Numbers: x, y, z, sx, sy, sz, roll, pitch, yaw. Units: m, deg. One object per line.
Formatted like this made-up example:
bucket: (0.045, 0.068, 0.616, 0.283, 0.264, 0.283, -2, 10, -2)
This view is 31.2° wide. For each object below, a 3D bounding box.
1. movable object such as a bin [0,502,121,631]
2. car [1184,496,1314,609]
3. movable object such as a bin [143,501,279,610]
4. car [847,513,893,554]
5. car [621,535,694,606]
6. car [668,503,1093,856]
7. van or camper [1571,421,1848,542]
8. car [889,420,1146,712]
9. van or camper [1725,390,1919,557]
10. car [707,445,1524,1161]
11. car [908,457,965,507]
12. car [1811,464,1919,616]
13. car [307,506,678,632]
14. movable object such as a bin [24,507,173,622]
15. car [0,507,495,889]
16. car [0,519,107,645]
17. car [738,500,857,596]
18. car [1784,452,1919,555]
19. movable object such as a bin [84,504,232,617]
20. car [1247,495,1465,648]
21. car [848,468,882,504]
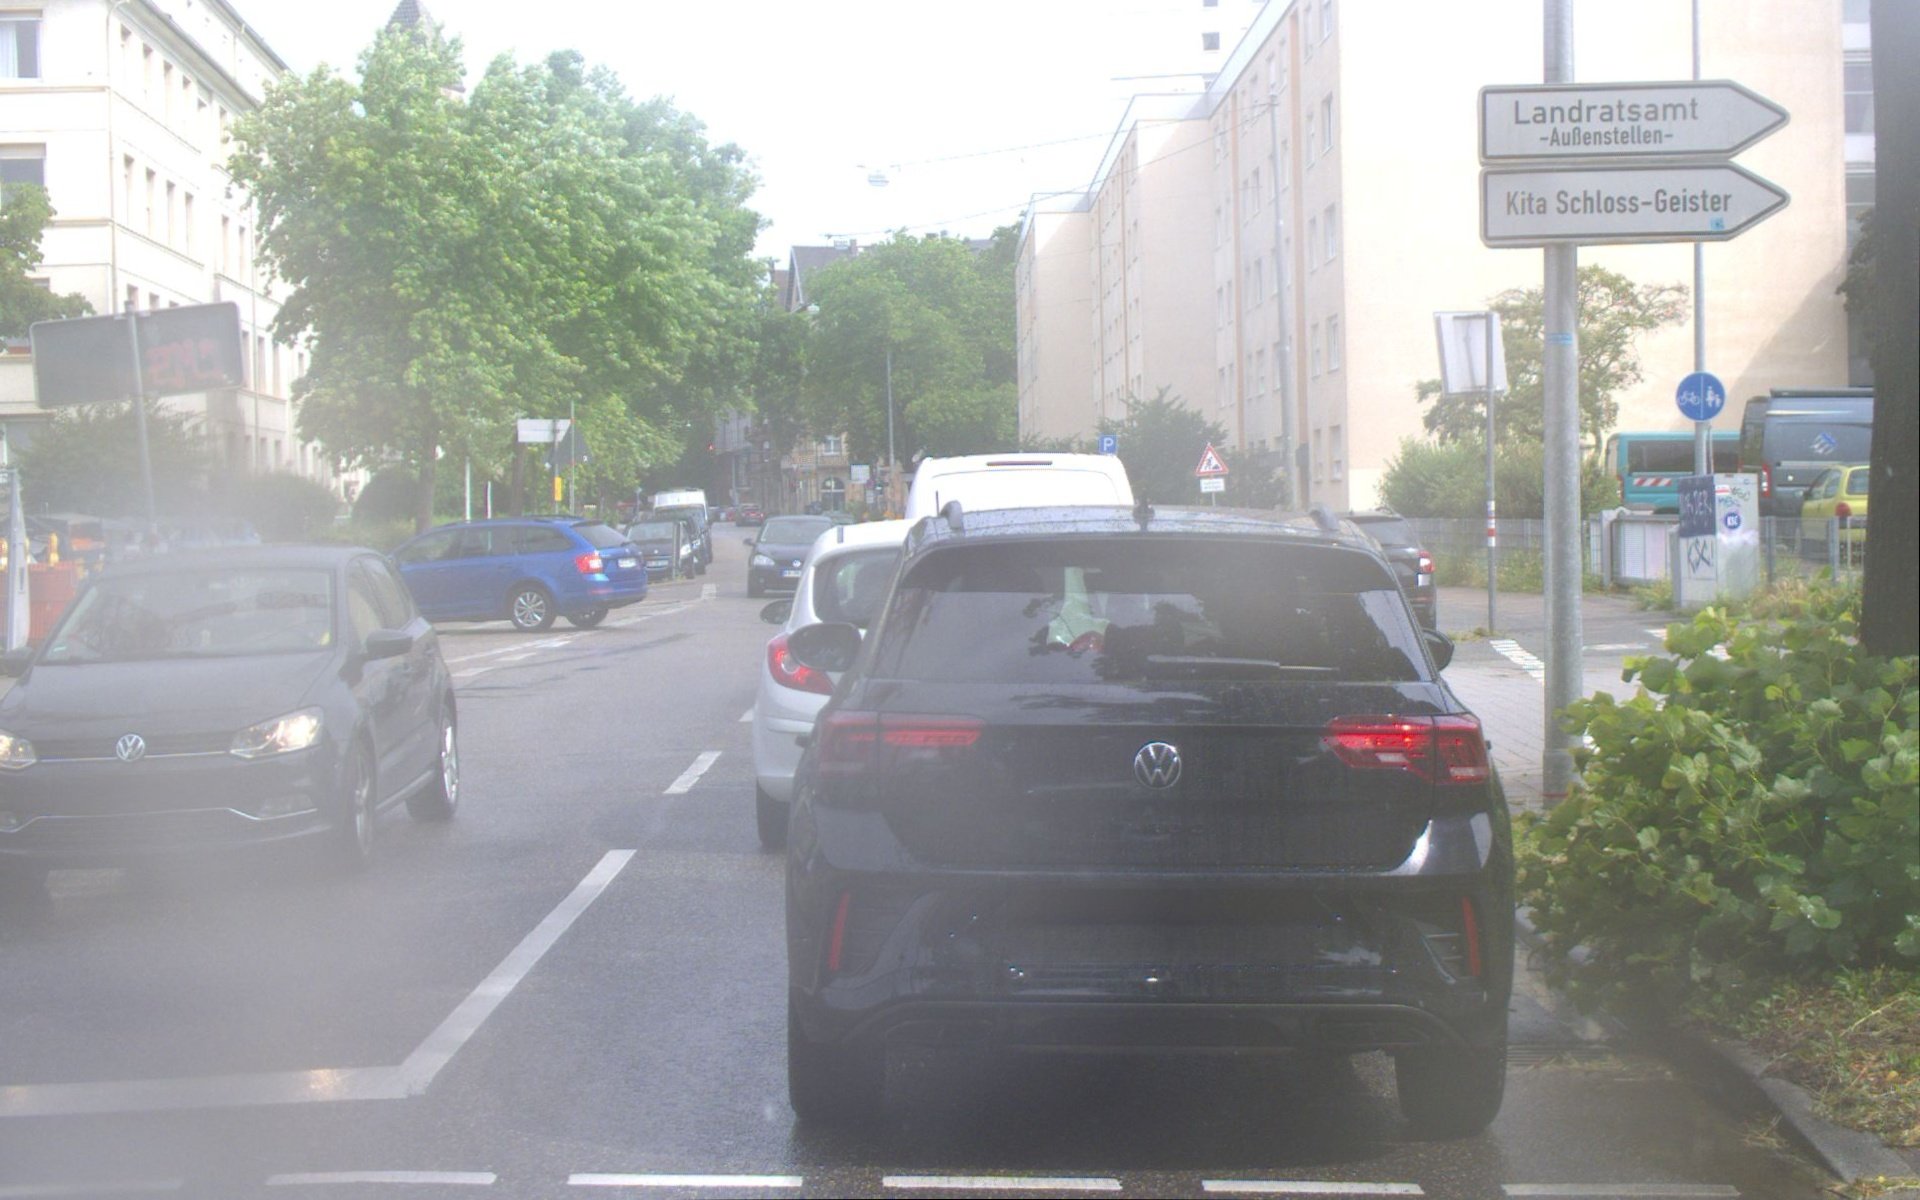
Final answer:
movable object such as a bin: (-13.390, -0.498, 50.566, 1.539, 1.818, 1.262, -1, 2, 19)
car: (4.228, -0.675, 50.764, 1.757, 1.522, 3.999, 2, 0, 3)
movable object such as a bin: (-12.015, -0.722, 55.178, 1.539, 1.656, 1.457, -1, 2, 19)
car: (-3.760, -2.781, 144.155, 1.740, 1.602, 3.675, -3, 2, 1)
car: (-6.974, -0.706, 79.415, 1.585, 1.500, 4.065, -3, 2, -5)
car: (-0.351, 0.317, 16.806, 1.813, 1.498, 4.000, 1, 1, 0)
van or camper: (14.064, -2.230, 64.734, 4.760, 2.124, 2.321, -1, 2, 4)
car: (0.469, -0.272, 26.935, 1.836, 2.095, 4.000, 1, 1, 2)
van or camper: (14.880, -1.996, 54.525, 4.998, 2.545, 2.175, -1, 1, 1)
car: (0.344, 0.439, 9.983, 1.873, 1.640, 4.062, 1, 1, 0)
car: (-0.795, -4.056, 118.741, 1.841, 1.602, 3.675, -3, 2, 1)
car: (11.714, -0.773, 41.738, 1.804, 1.744, 4.238, -2, 2, 2)
car: (-6.081, -0.389, 44.775, 4.437, 1.579, 1.820, 0, 0, 19)
movable object such as a bin: (-13.043, -0.546, 52.105, 1.539, 1.650, 1.526, -1, 2, 19)
car: (-3.380, 0.373, 15.864, 1.813, 1.535, 3.982, 0, 1, 2)
car: (-13.749, -0.166, 46.608, 3.986, 1.631, 1.896, -3, 0, -8)
car: (-2.919, -0.968, 62.597, 1.841, 1.602, 4.000, -3, 2, 1)
car: (13.378, -1.438, 50.870, 1.610, 1.444, 3.417, -2, 2, 2)
movable object such as a bin: (-12.514, -0.624, 53.665, 1.539, 1.668, 1.664, -1, 2, 19)
car: (4.446, -0.371, 39.200, 1.774, 1.534, 4.379, -4, 2, -2)
car: (-5.036, -6.017, 181.566, 1.665, 1.831, 4.001, -2, 2, -2)
